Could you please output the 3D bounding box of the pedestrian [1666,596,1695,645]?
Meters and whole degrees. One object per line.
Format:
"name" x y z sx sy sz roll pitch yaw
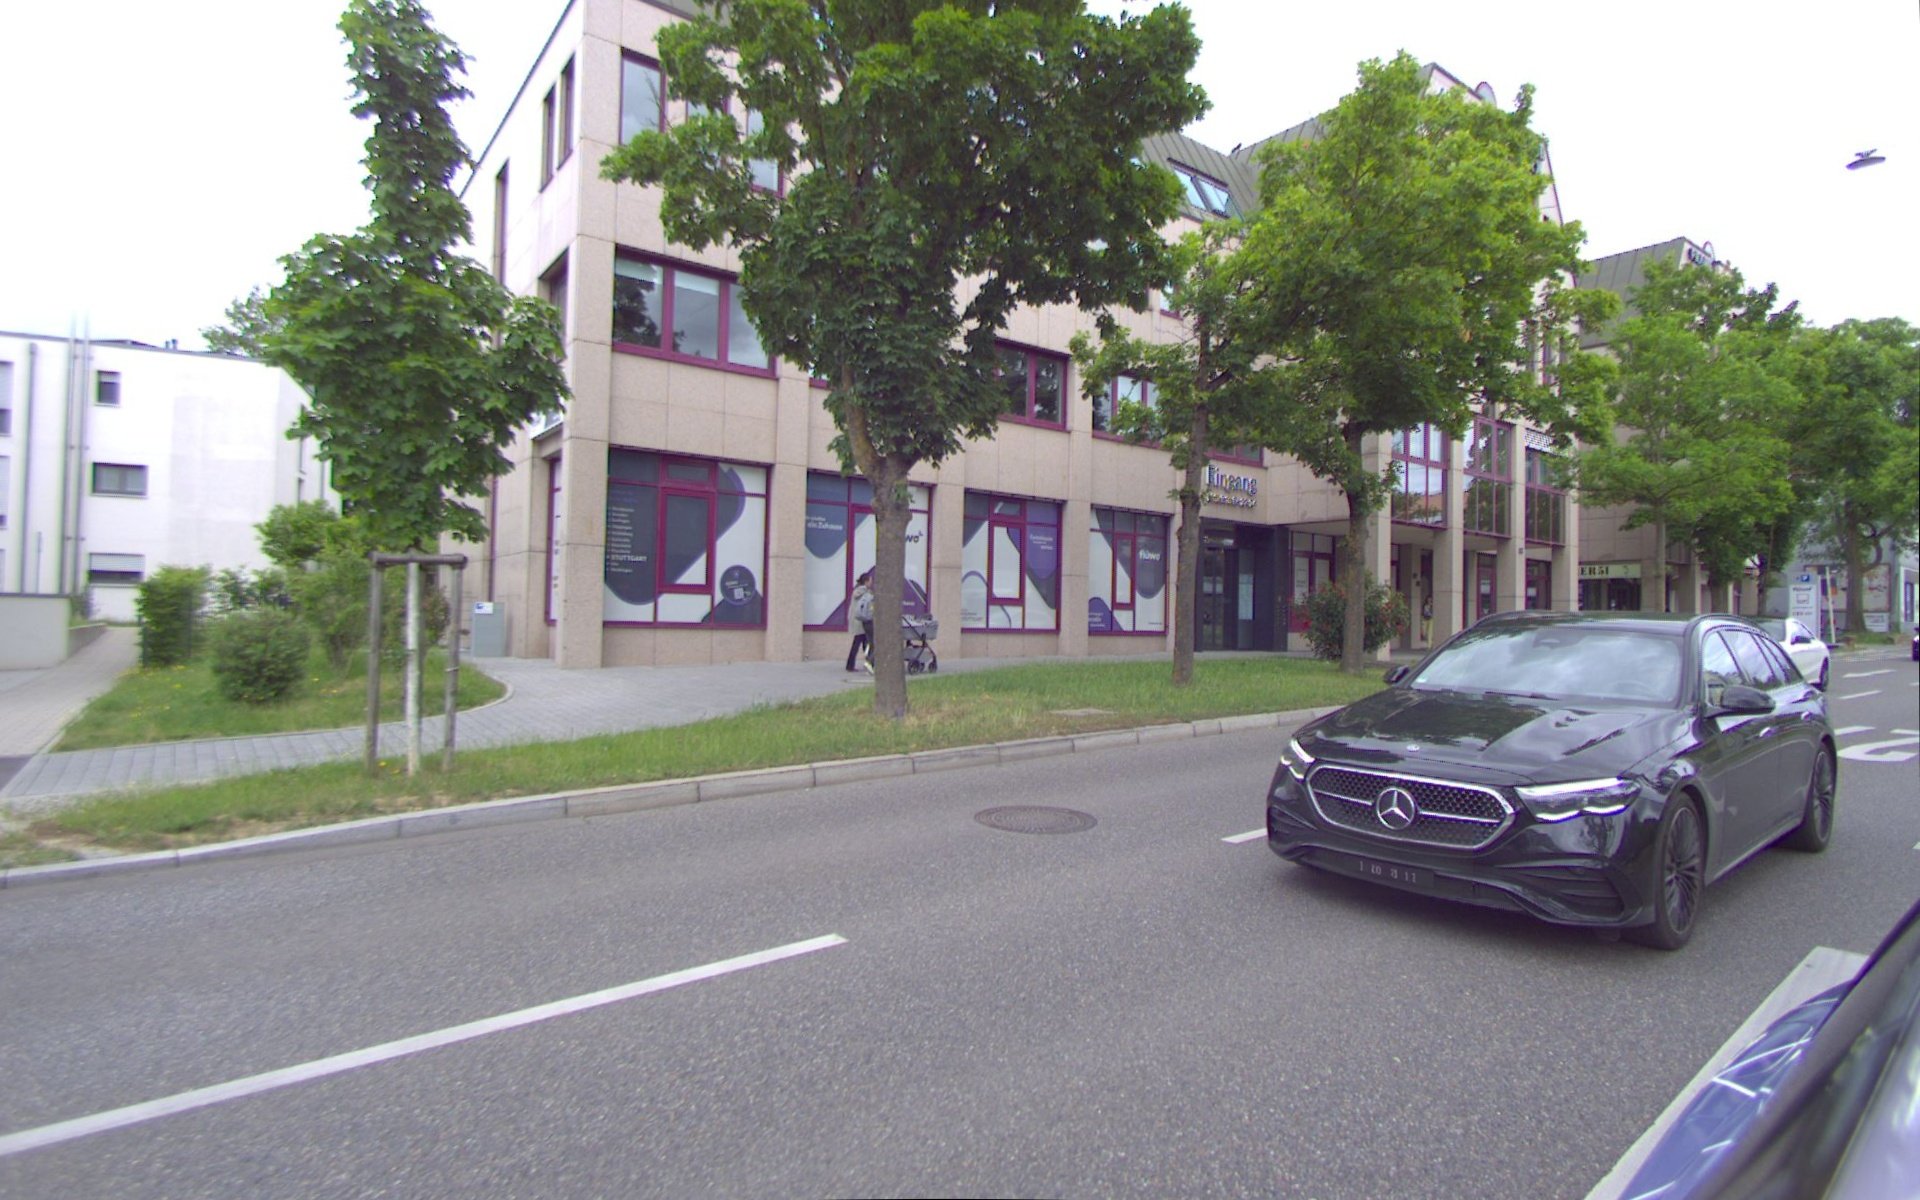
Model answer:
"pedestrian" 27.819 0.788 39.063 0.827 1.849 0.659 1 1 -37

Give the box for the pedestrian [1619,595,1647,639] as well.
"pedestrian" 26.887 0.680 40.444 0.827 1.712 0.659 1 1 -37

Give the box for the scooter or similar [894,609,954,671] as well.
"scooter or similar" -0.611 0.672 17.240 0.830 1.006 0.585 1 1 -35

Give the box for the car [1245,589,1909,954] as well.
"car" 4.190 0.721 6.506 4.881 1.505 2.058 1 0 -38

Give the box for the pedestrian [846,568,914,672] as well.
"pedestrian" -1.315 0.321 16.700 0.943 1.673 0.557 1 0 -35

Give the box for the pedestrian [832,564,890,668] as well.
"pedestrian" -1.695 0.263 17.316 0.814 1.721 0.569 0 -1 -37

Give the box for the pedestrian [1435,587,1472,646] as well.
"pedestrian" 14.708 0.493 30.158 0.951 1.726 0.596 1 -1 -36

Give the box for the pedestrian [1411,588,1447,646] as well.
"pedestrian" 14.235 0.512 30.710 0.951 1.726 0.596 1 -1 -36

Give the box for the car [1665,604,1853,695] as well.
"car" 15.046 0.825 18.974 4.614 1.491 1.798 0 0 -39
